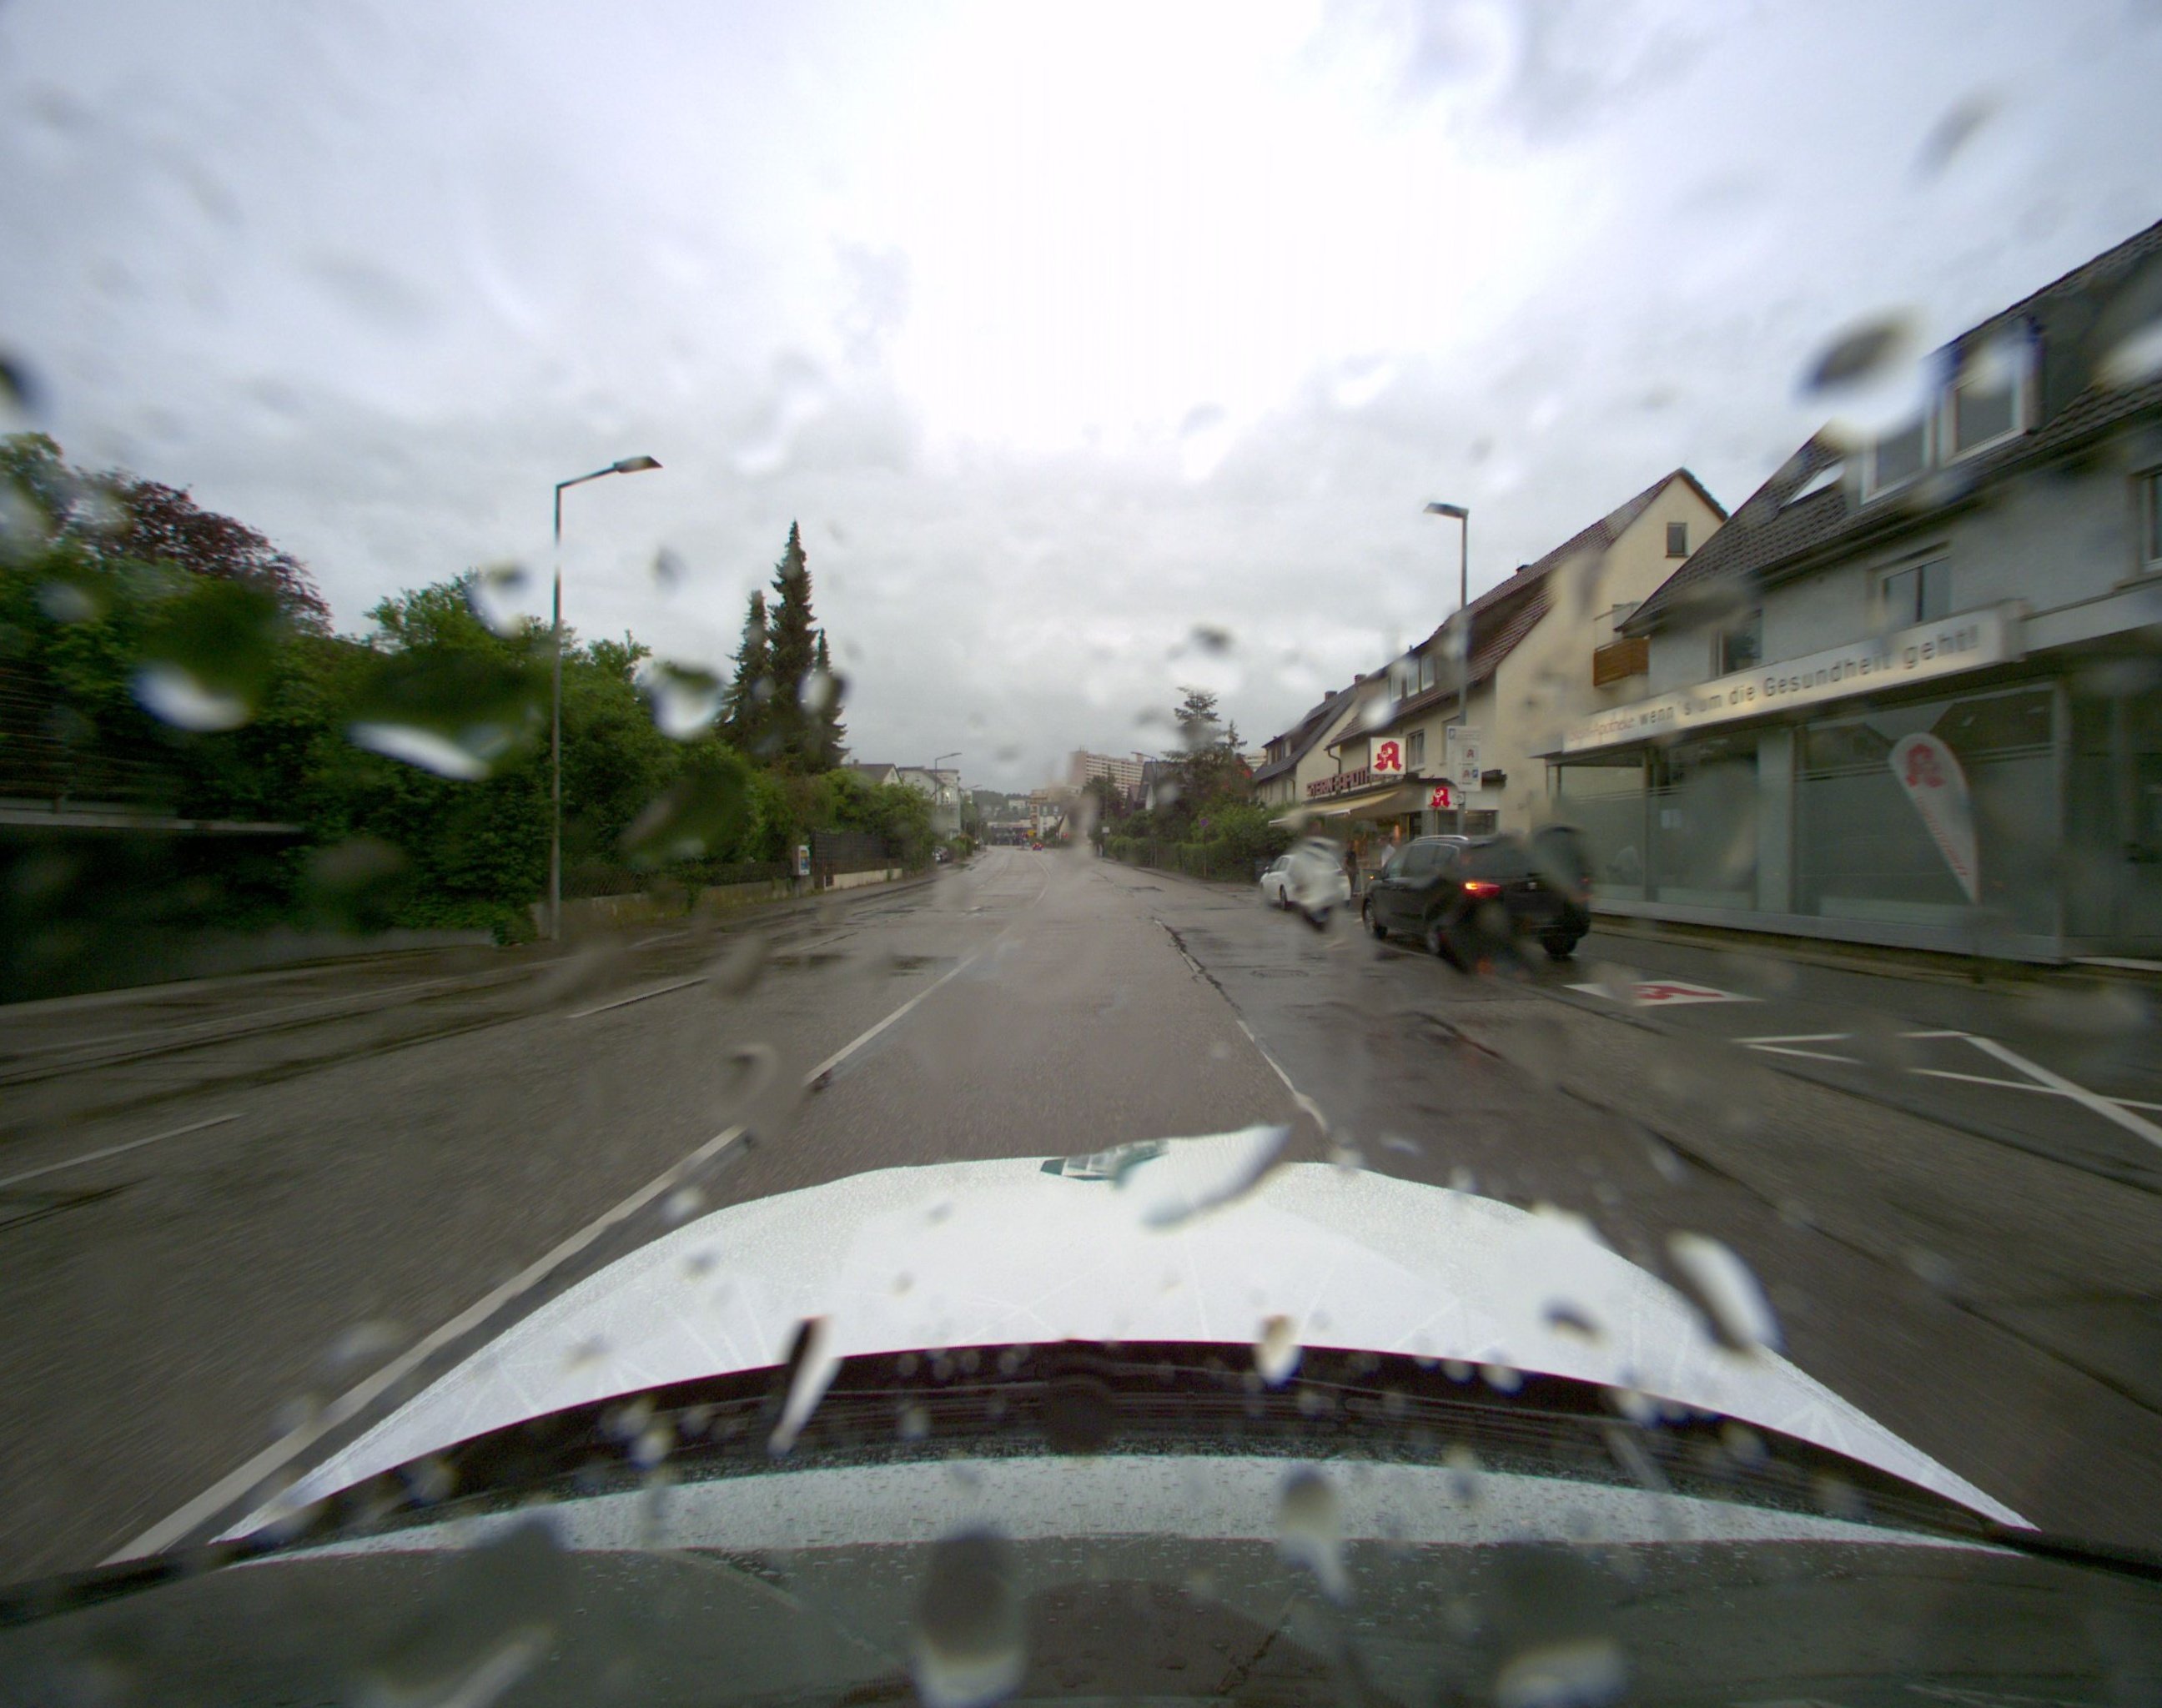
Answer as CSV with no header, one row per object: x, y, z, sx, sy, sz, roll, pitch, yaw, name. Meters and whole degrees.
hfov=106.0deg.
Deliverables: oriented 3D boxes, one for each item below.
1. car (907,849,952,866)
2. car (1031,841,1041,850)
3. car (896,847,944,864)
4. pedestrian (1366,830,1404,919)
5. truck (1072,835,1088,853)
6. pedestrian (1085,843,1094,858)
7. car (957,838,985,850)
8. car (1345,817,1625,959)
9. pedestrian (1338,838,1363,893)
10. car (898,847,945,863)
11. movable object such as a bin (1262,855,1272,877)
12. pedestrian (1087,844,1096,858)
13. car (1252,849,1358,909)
-15.012,0.344,80.576,3.959,1.686,1.815,0,0,13,car
-8.715,-1.607,158.328,1.790,1.669,3.996,-1,0,-2,car
-14.698,0.115,74.443,3.972,1.434,1.972,1,1,2,car
6.599,0.427,17.687,0.616,1.891,0.651,0,0,36,pedestrian
-0.154,-1.284,103.113,1.987,2.303,3.999,0,1,0,truck
1.057,-0.418,98.803,0.826,1.797,0.794,0,0,-22,pedestrian
-19.516,-1.795,144.576,4.493,2.013,2.006,1,1,11,car
5.823,0.455,12.621,2.027,1.695,4.966,-2,-1,3,car
8.330,0.357,25.204,0.554,1.678,0.511,0,0,-36,pedestrian
-14.972,0.069,76.639,3.970,1.446,1.707,0,0,3,car
8.699,0.556,38.144,0.365,0.987,0.355,-1,0,-2,movable object such as a bin
1.319,-0.422,99.839,0.826,1.726,0.835,0,0,-22,pedestrian
6.049,0.635,22.465,1.809,1.448,4.204,-2,0,1,car
